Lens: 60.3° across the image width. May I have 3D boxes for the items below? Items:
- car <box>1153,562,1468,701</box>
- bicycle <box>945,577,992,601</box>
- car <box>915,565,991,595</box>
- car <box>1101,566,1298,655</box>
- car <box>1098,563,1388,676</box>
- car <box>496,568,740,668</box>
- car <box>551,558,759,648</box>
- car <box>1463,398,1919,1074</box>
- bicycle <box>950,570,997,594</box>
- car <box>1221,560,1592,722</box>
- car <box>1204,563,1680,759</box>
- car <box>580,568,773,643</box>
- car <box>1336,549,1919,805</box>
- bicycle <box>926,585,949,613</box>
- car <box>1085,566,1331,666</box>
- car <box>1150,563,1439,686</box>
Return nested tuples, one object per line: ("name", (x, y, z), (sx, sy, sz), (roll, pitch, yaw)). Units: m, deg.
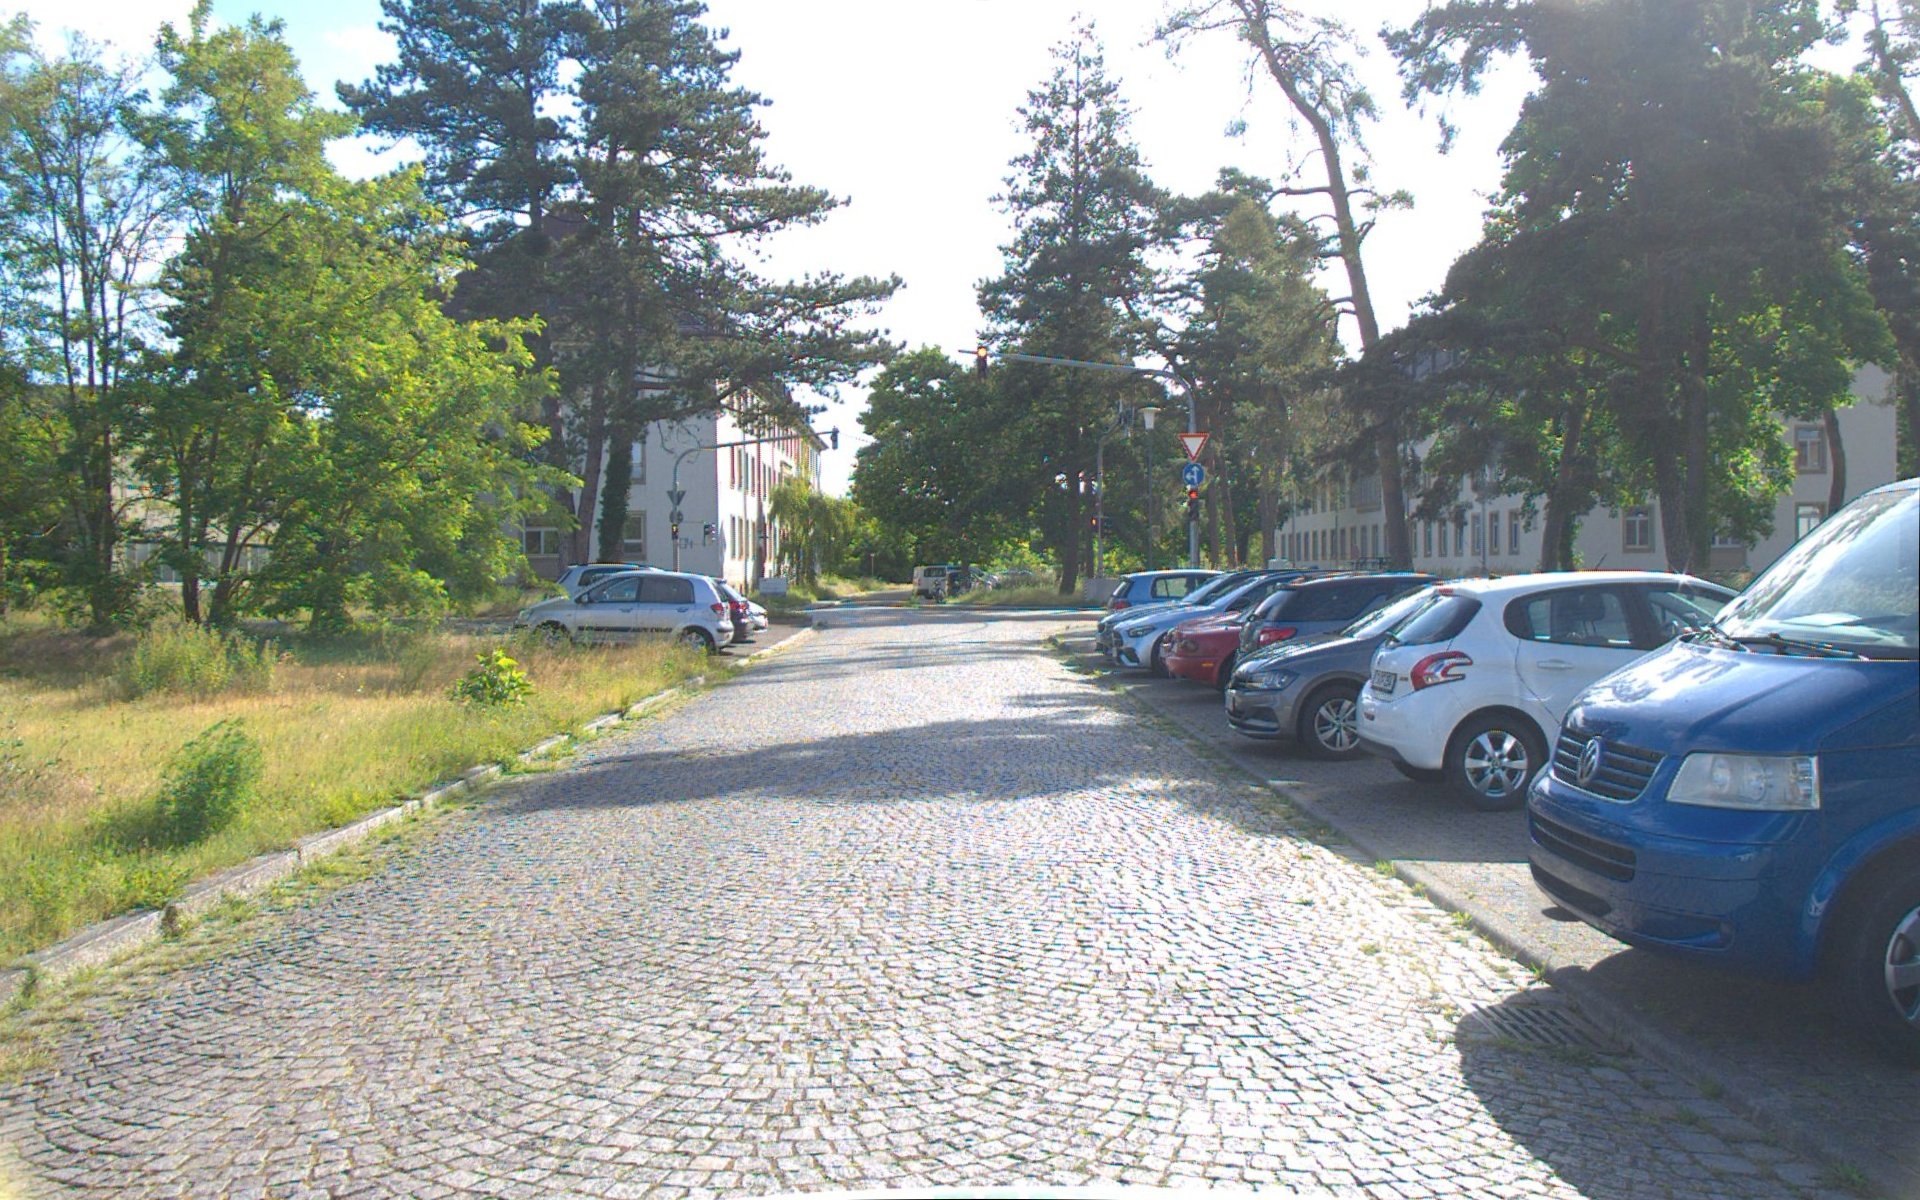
("car", (4.149, 0.344, 19.912), (3.408, 1.556, 1.645), (-1, 1, -2))
("bicycle", (0.389, -0.511, 78.784), (2.134, 1.119, 0.805), (0, 1, -11))
("car", (-0.404, -1.173, 96.235), (4.390, 1.758, 2.000), (0, 1, -2))
("car", (4.280, 0.166, 29.866), (3.276, 1.508, 1.645), (-1, 1, -2))
("car", (4.126, 0.264, 24.451), (3.955, 1.556, 1.644), (-1, 1, -5))
("car", (-5.887, 0.278, 28.892), (3.908, 1.628, 1.999), (-1, 1, -4))
("car", (-6.256, 0.040, 34.272), (3.907, 1.629, 2.000), (3, 1, -2))
("car", (4.513, 0.365, 6.221), (4.584, 2.049, 2.082), (-1, 1, -4))
("bicycle", (0.650, -0.878, 79.839), (2.134, 1.119, 0.805), (0, 1, -11))
("car", (4.569, 0.390, 17.229), (3.408, 1.556, 1.645), (-1, 1, -2))
("car", (4.062, 0.479, 14.301), (3.601, 1.492, 1.645), (-2, 1, -2))
("car", (-6.227, 0.101, 36.675), (3.906, 1.478, 2.000), (2, 1, -2))
("car", (4.618, 0.475, 11.423), (3.619, 1.491, 1.645), (-2, 1, 0))
("bicycle", (-1.021, -0.064, 75.300), (0.789, 1.190, 2.177), (-2, 1, -7))
("car", (4.028, 0.239, 27.221), (3.758, 1.556, 1.645), (-1, 1, -2))
("car", (4.446, 0.299, 22.275), (3.530, 1.556, 1.645), (-1, 1, -2))
